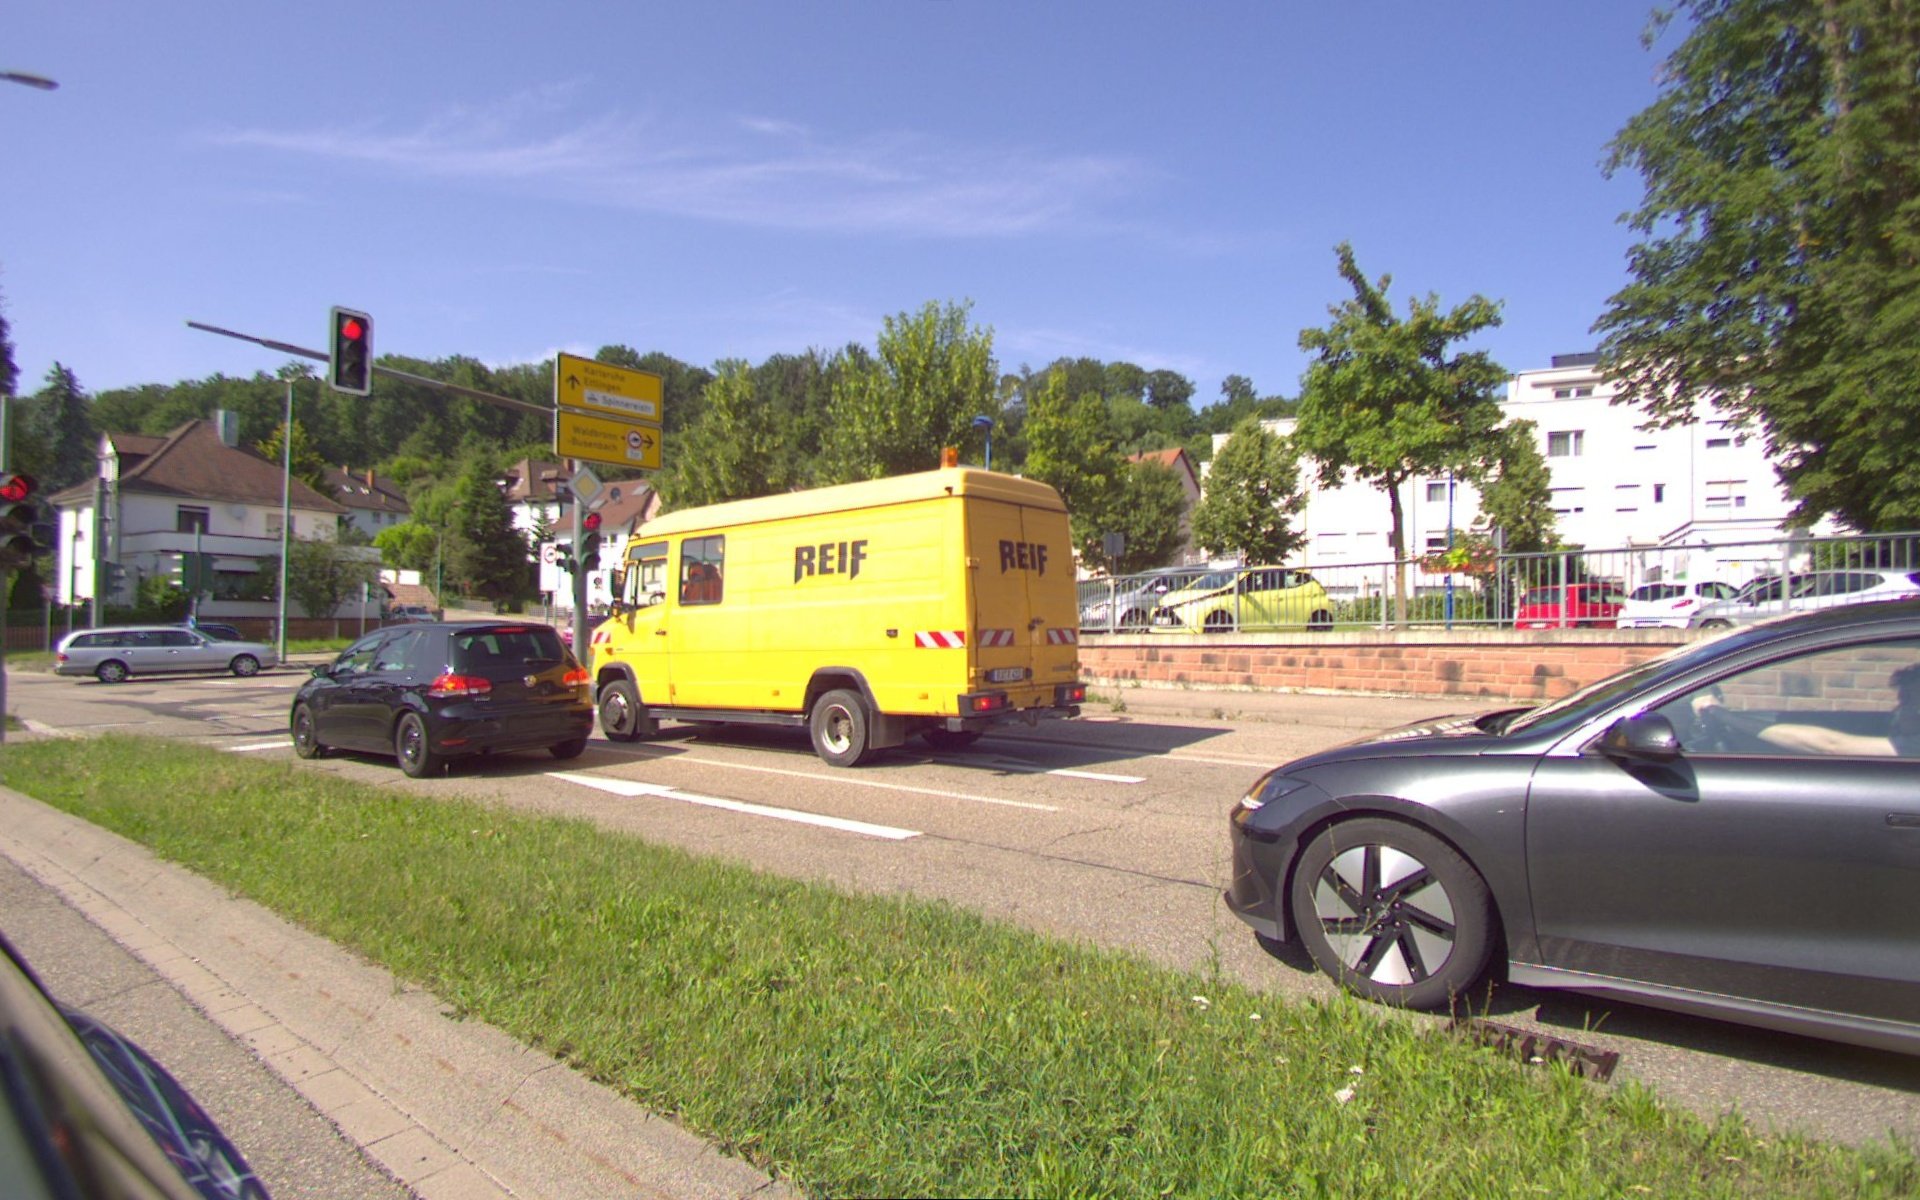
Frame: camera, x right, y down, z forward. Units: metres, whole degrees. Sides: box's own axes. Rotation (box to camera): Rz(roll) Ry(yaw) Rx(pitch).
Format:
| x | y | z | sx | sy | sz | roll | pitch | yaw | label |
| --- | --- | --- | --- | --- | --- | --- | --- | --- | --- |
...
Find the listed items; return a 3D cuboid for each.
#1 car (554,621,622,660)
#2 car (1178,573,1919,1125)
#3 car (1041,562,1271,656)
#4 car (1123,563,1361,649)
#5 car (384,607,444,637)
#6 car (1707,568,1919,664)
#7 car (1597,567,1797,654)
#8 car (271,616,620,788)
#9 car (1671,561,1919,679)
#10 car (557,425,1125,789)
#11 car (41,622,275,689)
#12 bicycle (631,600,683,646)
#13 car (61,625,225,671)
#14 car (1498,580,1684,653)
| x | y | z | sx | sy | sz | roll | pitch | yaw | label |
| --- | --- | --- | --- | --- | --- | --- | --- | --- | --- |
| -15.852 | 1.685 | 43.314 | 1.638 | 1.545 | 3.957 | -1 | -1 | -3 | car |
| 3.277 | 0.666 | 3.301 | 4.708 | 1.482 | 1.775 | -2 | -1 | 37 | car |
| 4.180 | 0.161 | 21.660 | 4.339 | 1.709 | 2.064 | -3 | 1 | -21 | car |
| 5.338 | 0.101 | 19.213 | 3.931 | 1.392 | 1.920 | -2 | 0 | -21 | car |
| -33.069 | 1.363 | 61.254 | 3.999 | 1.649 | 1.914 | -3 | -1 | 42 | car |
| 17.359 | 0.281 | 20.187 | 3.931 | 1.684 | 2.006 | -2 | -1 | -19 | car |
| 16.799 | 0.231 | 23.092 | 3.931 | 1.714 | 1.920 | -3 | -1 | -24 | car |
| -5.497 | 0.929 | 10.629 | 4.037 | 1.474 | 1.729 | -2 | -2 | 38 | car |
| 14.889 | 0.339 | 17.342 | 1.888 | 1.803 | 4.013 | 0 | -1 | -21 | car |
| -1.617 | 0.097 | 11.399 | 6.456 | 3.033 | 2.444 | -1 | 0 | 38 | car |
| -21.371 | 1.440 | 27.258 | 4.670 | 1.515 | 1.986 | -2 | -1 | -31 | car |
| -9.311 | 0.714 | 31.073 | 1.756 | 1.265 | 0.612 | -5 | 1 | 42 | bicycle |
| -30.703 | 1.778 | 38.198 | 4.675 | 1.495 | 1.984 | -2 | -1 | -39 | car |
| 15.766 | 0.389 | 25.324 | 3.931 | 1.571 | 1.920 | -2 | -1 | -21 | car |
